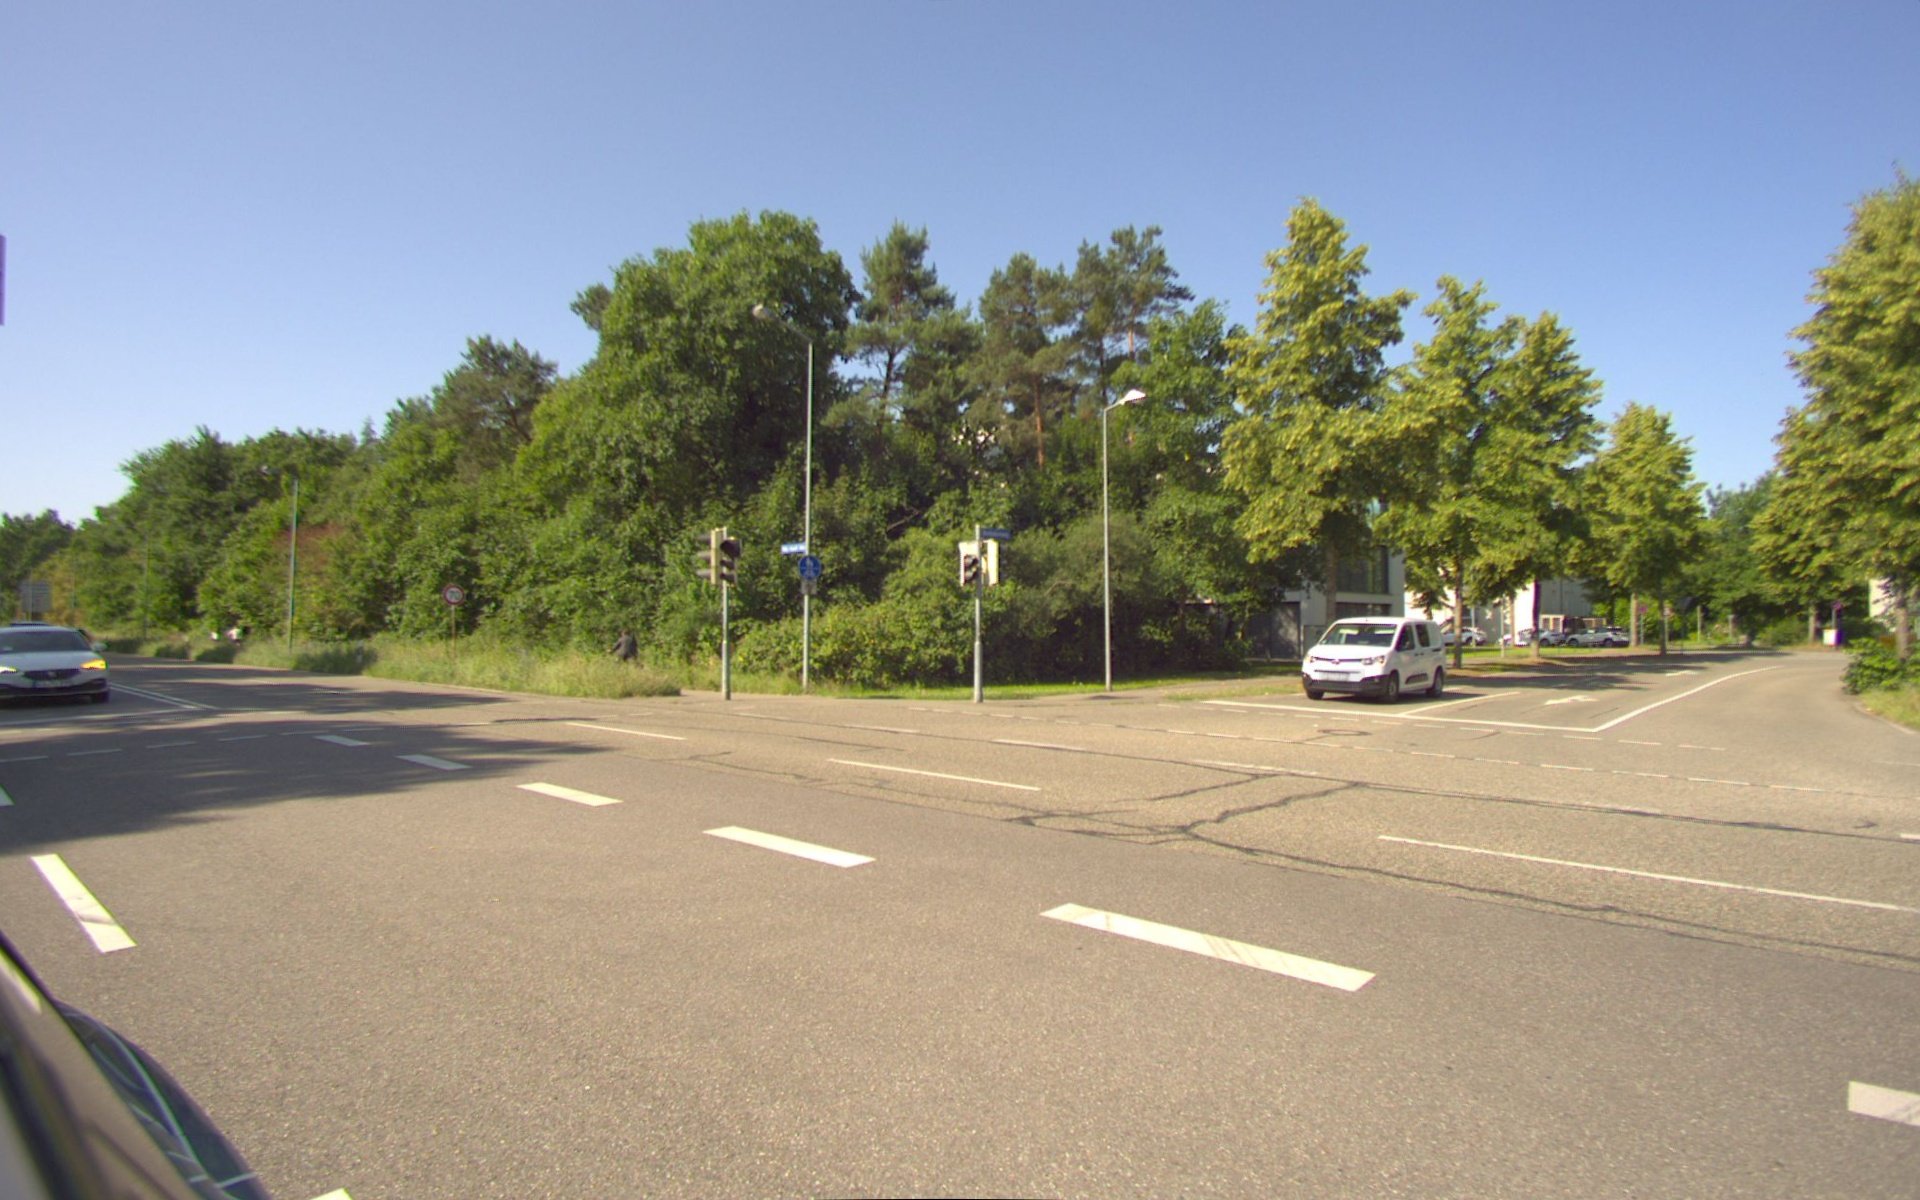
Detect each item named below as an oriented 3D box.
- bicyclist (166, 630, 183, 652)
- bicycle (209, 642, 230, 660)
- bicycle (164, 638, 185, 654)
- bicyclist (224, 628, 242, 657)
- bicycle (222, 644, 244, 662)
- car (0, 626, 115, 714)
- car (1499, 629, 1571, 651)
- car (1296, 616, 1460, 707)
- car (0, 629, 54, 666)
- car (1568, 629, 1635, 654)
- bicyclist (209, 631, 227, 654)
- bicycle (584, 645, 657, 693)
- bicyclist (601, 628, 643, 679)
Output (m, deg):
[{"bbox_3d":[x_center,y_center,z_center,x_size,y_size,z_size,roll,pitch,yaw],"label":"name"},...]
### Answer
[{"bbox_3d":[-50.293,2.637,64.784,0.974,1.352,0.668,-1,0,40],"label":"bicyclist"},{"bbox_3d":[-41.599,2.834,56.818,2.139,0.965,0.597,-2,-2,44],"label":"bicycle"},{"bbox_3d":[-50.305,2.937,64.799,1.912,0.963,0.668,-1,0,40],"label":"bicycle"},{"bbox_3d":[-38.462,2.240,53.518,0.945,1.477,0.603,-1,0,44],"label":"bicyclist"},{"bbox_3d":[-38.448,2.810,53.501,2.139,0.921,0.597,-2,-2,44],"label":"bicycle"},{"bbox_3d":[-17.553,1.268,19.202,4.422,1.435,1.765,-2,-1,43],"label":"car"},{"bbox_3d":[42.649,2.966,75.181,1.748,1.497,4.283,-1,0,-38],"label":"car"},{"bbox_3d":[9.207,1.290,22.086,1.852,1.791,4.595,-1,-3,42],"label":"car"},{"bbox_3d":[-45.868,2.275,49.584,4.391,1.710,1.771,-1,-3,43],"label":"car"},{"bbox_3d":[45.030,2.863,71.103,1.572,1.575,3.719,-1,0,-24],"label":"car"},{"bbox_3d":[-41.649,2.376,56.836,0.727,1.273,0.692,-1,0,44],"label":"bicyclist"},{"bbox_3d":[-8.988,1.794,26.725,2.371,1.172,0.725,-2,-2,41],"label":"bicycle"},{"bbox_3d":[-8.904,1.398,26.659,0.883,1.321,0.714,-2,-2,40],"label":"bicyclist"}]
